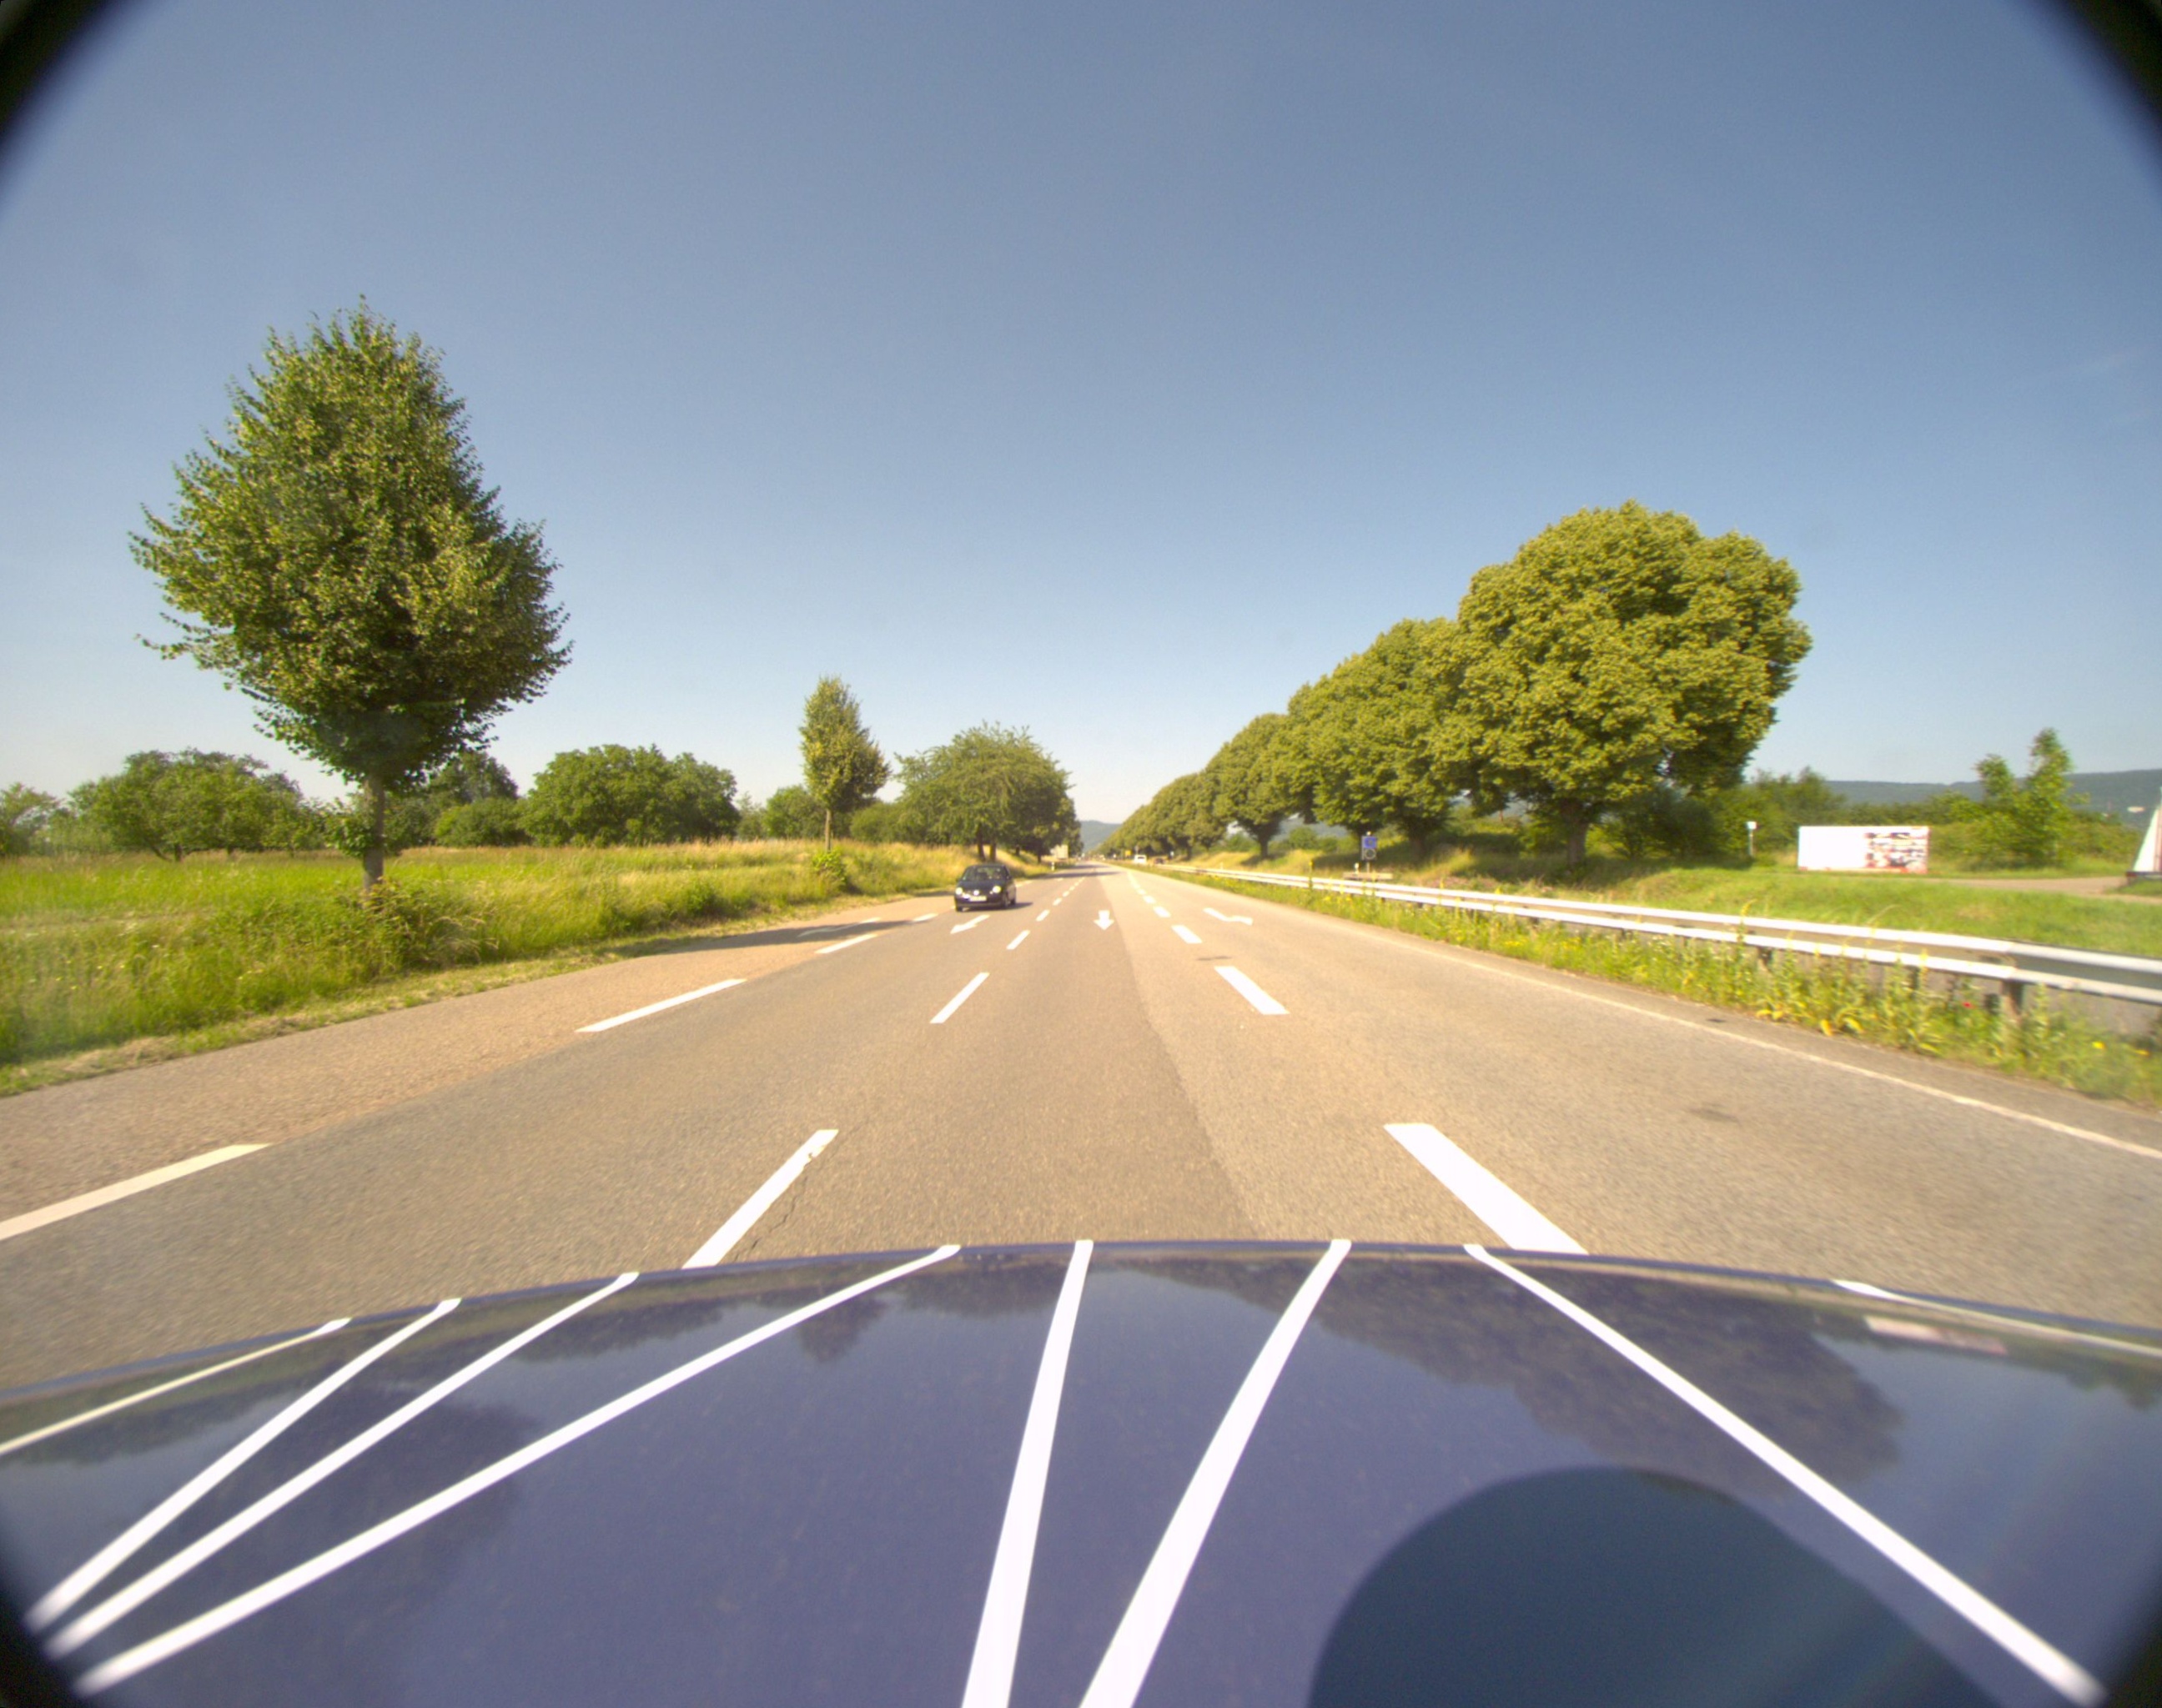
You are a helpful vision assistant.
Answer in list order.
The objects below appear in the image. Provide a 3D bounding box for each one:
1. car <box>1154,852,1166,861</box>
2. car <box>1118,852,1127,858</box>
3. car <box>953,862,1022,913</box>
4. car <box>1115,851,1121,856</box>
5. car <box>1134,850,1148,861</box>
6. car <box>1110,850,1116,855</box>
[{"bbox_3d":[14.082,0.453,135.123,1.726,1.456,3.700,1,0,1],"label":"car"},{"bbox_3d":[10.217,0.305,188.037,1.933,1.521,3.999,0,0,-1],"label":"car"},{"bbox_3d":[-2.953,1.029,24.605,1.629,1.425,3.623,-2,0,2],"label":"car"},{"bbox_3d":[11.227,-0.130,230.952,1.933,1.521,4.000,0,0,1],"label":"car"},{"bbox_3d":[10.108,0.169,127.978,1.998,1.791,4.000,0,0,1],"label":"car"},{"bbox_3d":[11.204,-0.376,265.038,1.998,1.606,3.999,-2,1,1],"label":"car"}]
